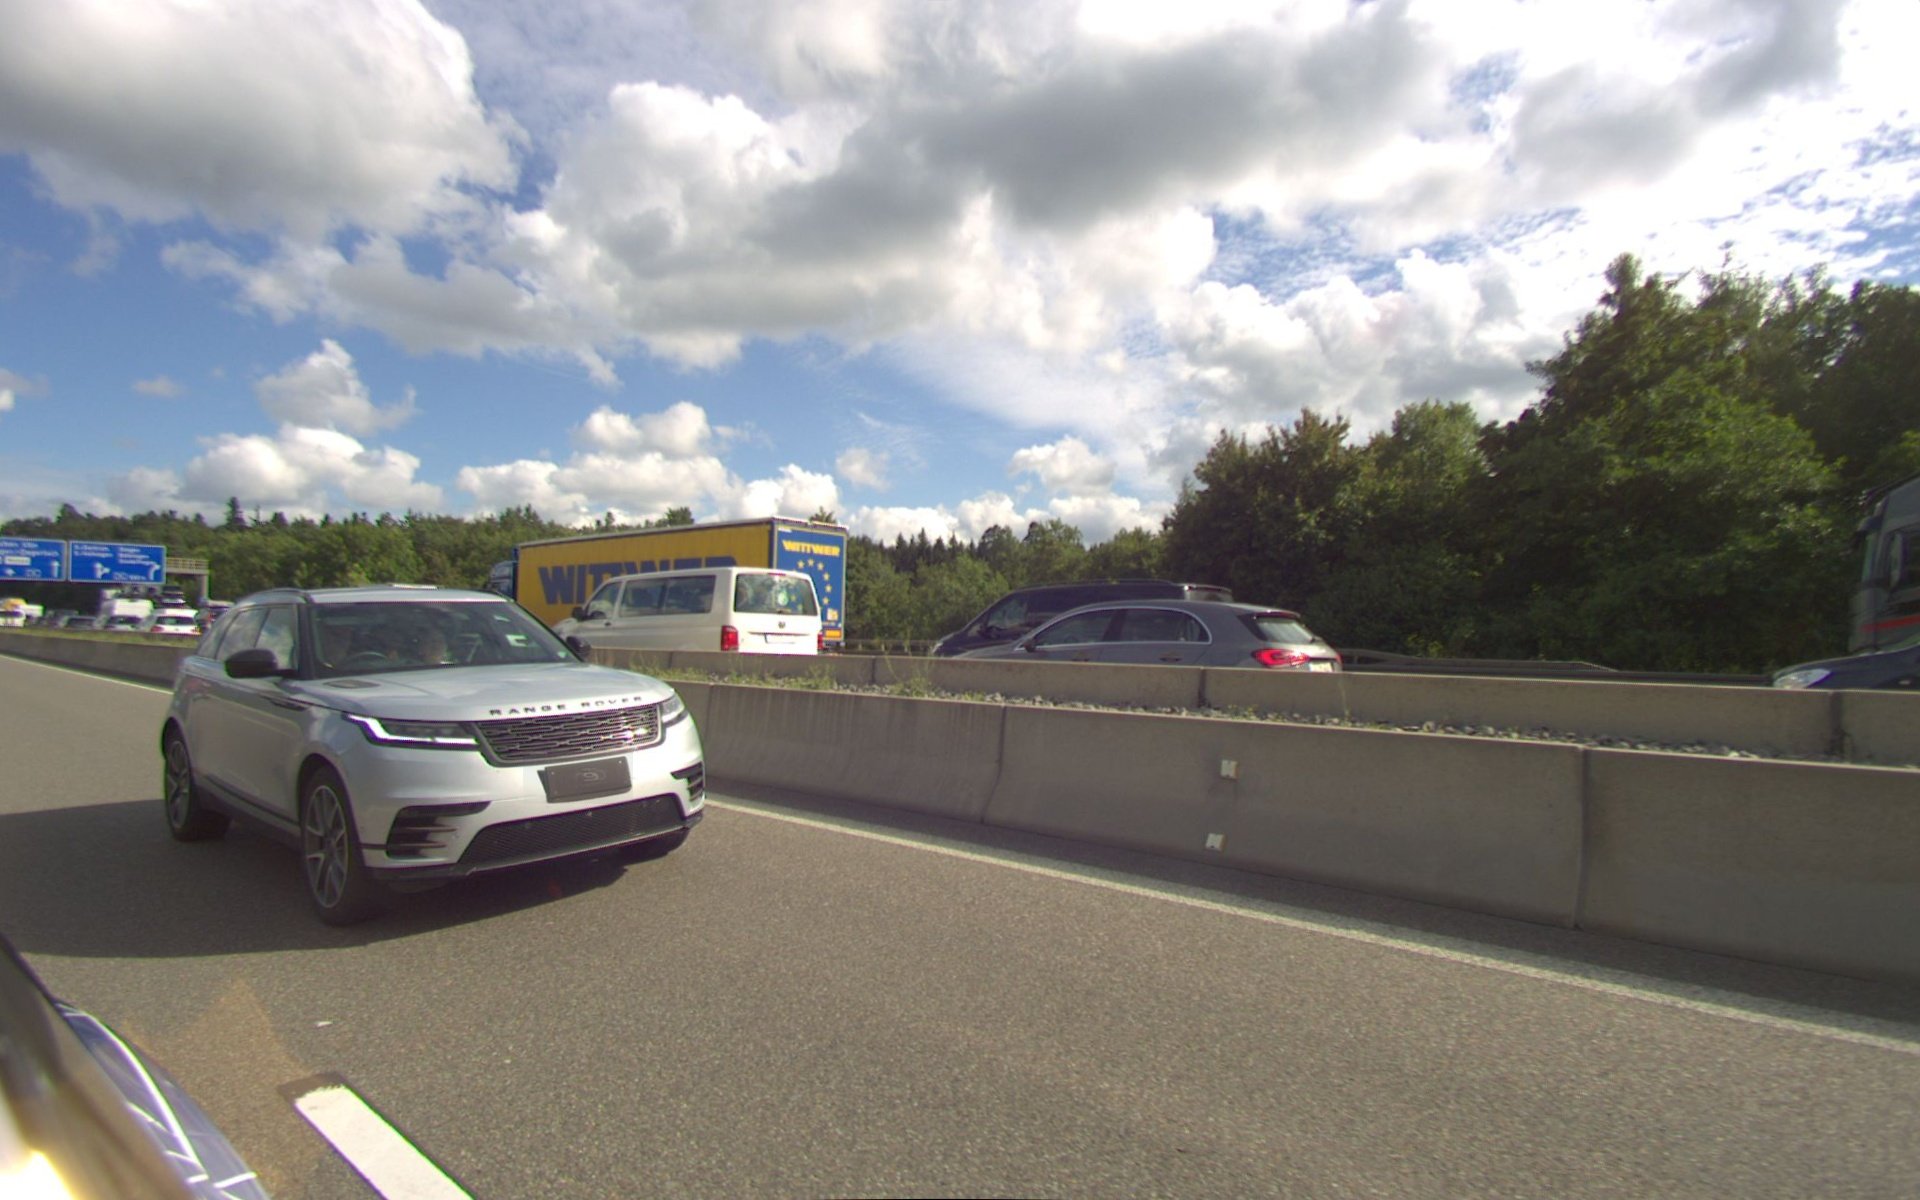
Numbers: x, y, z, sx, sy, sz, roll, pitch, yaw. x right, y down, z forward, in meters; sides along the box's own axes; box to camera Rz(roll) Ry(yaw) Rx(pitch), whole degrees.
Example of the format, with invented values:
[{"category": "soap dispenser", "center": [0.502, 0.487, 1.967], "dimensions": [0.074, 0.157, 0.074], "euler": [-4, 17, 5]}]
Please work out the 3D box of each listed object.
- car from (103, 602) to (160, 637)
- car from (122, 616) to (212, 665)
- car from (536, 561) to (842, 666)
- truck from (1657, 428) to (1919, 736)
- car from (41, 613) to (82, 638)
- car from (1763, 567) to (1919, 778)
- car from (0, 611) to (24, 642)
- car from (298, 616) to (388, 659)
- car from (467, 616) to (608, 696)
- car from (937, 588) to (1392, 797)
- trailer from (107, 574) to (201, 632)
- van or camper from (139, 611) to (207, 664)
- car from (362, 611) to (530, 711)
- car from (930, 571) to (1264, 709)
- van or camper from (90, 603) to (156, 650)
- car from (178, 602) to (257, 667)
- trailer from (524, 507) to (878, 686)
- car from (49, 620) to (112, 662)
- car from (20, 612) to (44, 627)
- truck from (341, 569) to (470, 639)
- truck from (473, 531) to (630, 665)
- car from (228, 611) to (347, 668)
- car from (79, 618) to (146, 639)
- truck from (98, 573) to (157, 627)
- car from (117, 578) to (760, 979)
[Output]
[{"category": "car", "center": [-52.084, 1.185, 63.609], "dimensions": [4.654, 2.029, 1.973], "euler": [0, 1, 41]}, {"category": "car", "center": [-30.946, 1.537, 39.465], "dimensions": [4.293, 1.756, 1.973], "euler": [-1, 1, 41]}, {"category": "car", "center": [-4.370, 0.150, 15.708], "dimensions": [5.485, 1.364, 1.831], "euler": [0, 1, 41]}, {"category": "truck", "center": [13.804, -0.231, 14.972], "dimensions": [5.449, 4.181, 2.783], "euler": [-1, -2, 40]}, {"category": "car", "center": [-71.014, 1.991, 79.996], "dimensions": [4.695, 1.890, 1.891], "euler": [-1, -1, 42]}, {"category": "car", "center": [9.623, 0.575, 8.356], "dimensions": [4.611, 1.780, 1.727], "euler": [-1, 0, 41]}, {"category": "car", "center": [-70.163, 1.923, 74.073], "dimensions": [5.277, 2.115, 1.972], "euler": [1, 1, 42]}, {"category": "car", "center": [-22.385, 1.319, 36.674], "dimensions": [3.834, 1.411, 1.715], "euler": [0, 1, 41]}, {"category": "car", "center": [-11.108, 1.377, 26.494], "dimensions": [4.293, 1.829, 1.669], "euler": [0, 1, 41]}, {"category": "car", "center": [1.836, 0.740, 9.806], "dimensions": [3.997, 1.615, 1.706], "euler": [-1, 0, 40]}, {"category": "trailer", "center": [-61.060, 0.167, 76.455], "dimensions": [15.999, 4.004, 2.801], "euler": [1, 1, 41]}, {"category": "van or camper", "center": [-44.029, 2.033, 56.583], "dimensions": [5.749, 2.731, 2.023], "euler": [0, 1, 42]}, {"category": "car", "center": [-10.917, 1.184, 21.381], "dimensions": [4.293, 1.829, 1.669], "euler": [0, 1, 41]}, {"category": "car", "center": [1.931, 0.549, 15.346], "dimensions": [4.839, 1.780, 1.727], "euler": [-1, 0, 41]}, {"category": "van or camper", "center": [-53.324, 1.618, 64.418], "dimensions": [6.630, 2.731, 2.365], "euler": [1, 1, 42]}, {"category": "car", "center": [-37.008, 1.674, 50.378], "dimensions": [5.400, 2.985, 1.973], "euler": [-1, 1, 41]}, {"category": "trailer", "center": [-8.178, -0.132, 29.656], "dimensions": [13.652, 4.266, 2.743], "euler": [0, 1, 41]}, {"category": "car", "center": [-46.826, 2.139, 53.841], "dimensions": [4.408, 2.029, 1.972], "euler": [0, 0, 42]}, {"category": "car", "center": [-114.510, 2.399, 124.925], "dimensions": [3.949, 1.890, 1.781], "euler": [-1, -1, 41]}, {"category": "truck", "center": [-24.325, 0.205, 44.175], "dimensions": [7.945, 2.822, 2.304], "euler": [-1, 1, 41]}, {"category": "truck", "center": [-14.040, -0.089, 34.638], "dimensions": [5.613, 4.179, 2.708], "euler": [0, 1, 41]}, {"category": "car", "center": [-19.244, 1.098, 28.900], "dimensions": [3.997, 1.387, 1.739], "euler": [-1, 2, 41]}, {"category": "car", "center": [-38.629, 1.296, 46.094], "dimensions": [4.603, 0.864, 1.618], "euler": [-1, 1, 41]}, {"category": "truck", "center": [-67.881, -0.005, 82.503], "dimensions": [5.711, 4.266, 2.823], "euler": [-1, 0, 42]}, {"category": "car", "center": [-3.634, 0.746, 6.473], "dimensions": [5.102, 1.619, 1.880], "euler": [-1, -1, 41]}]
